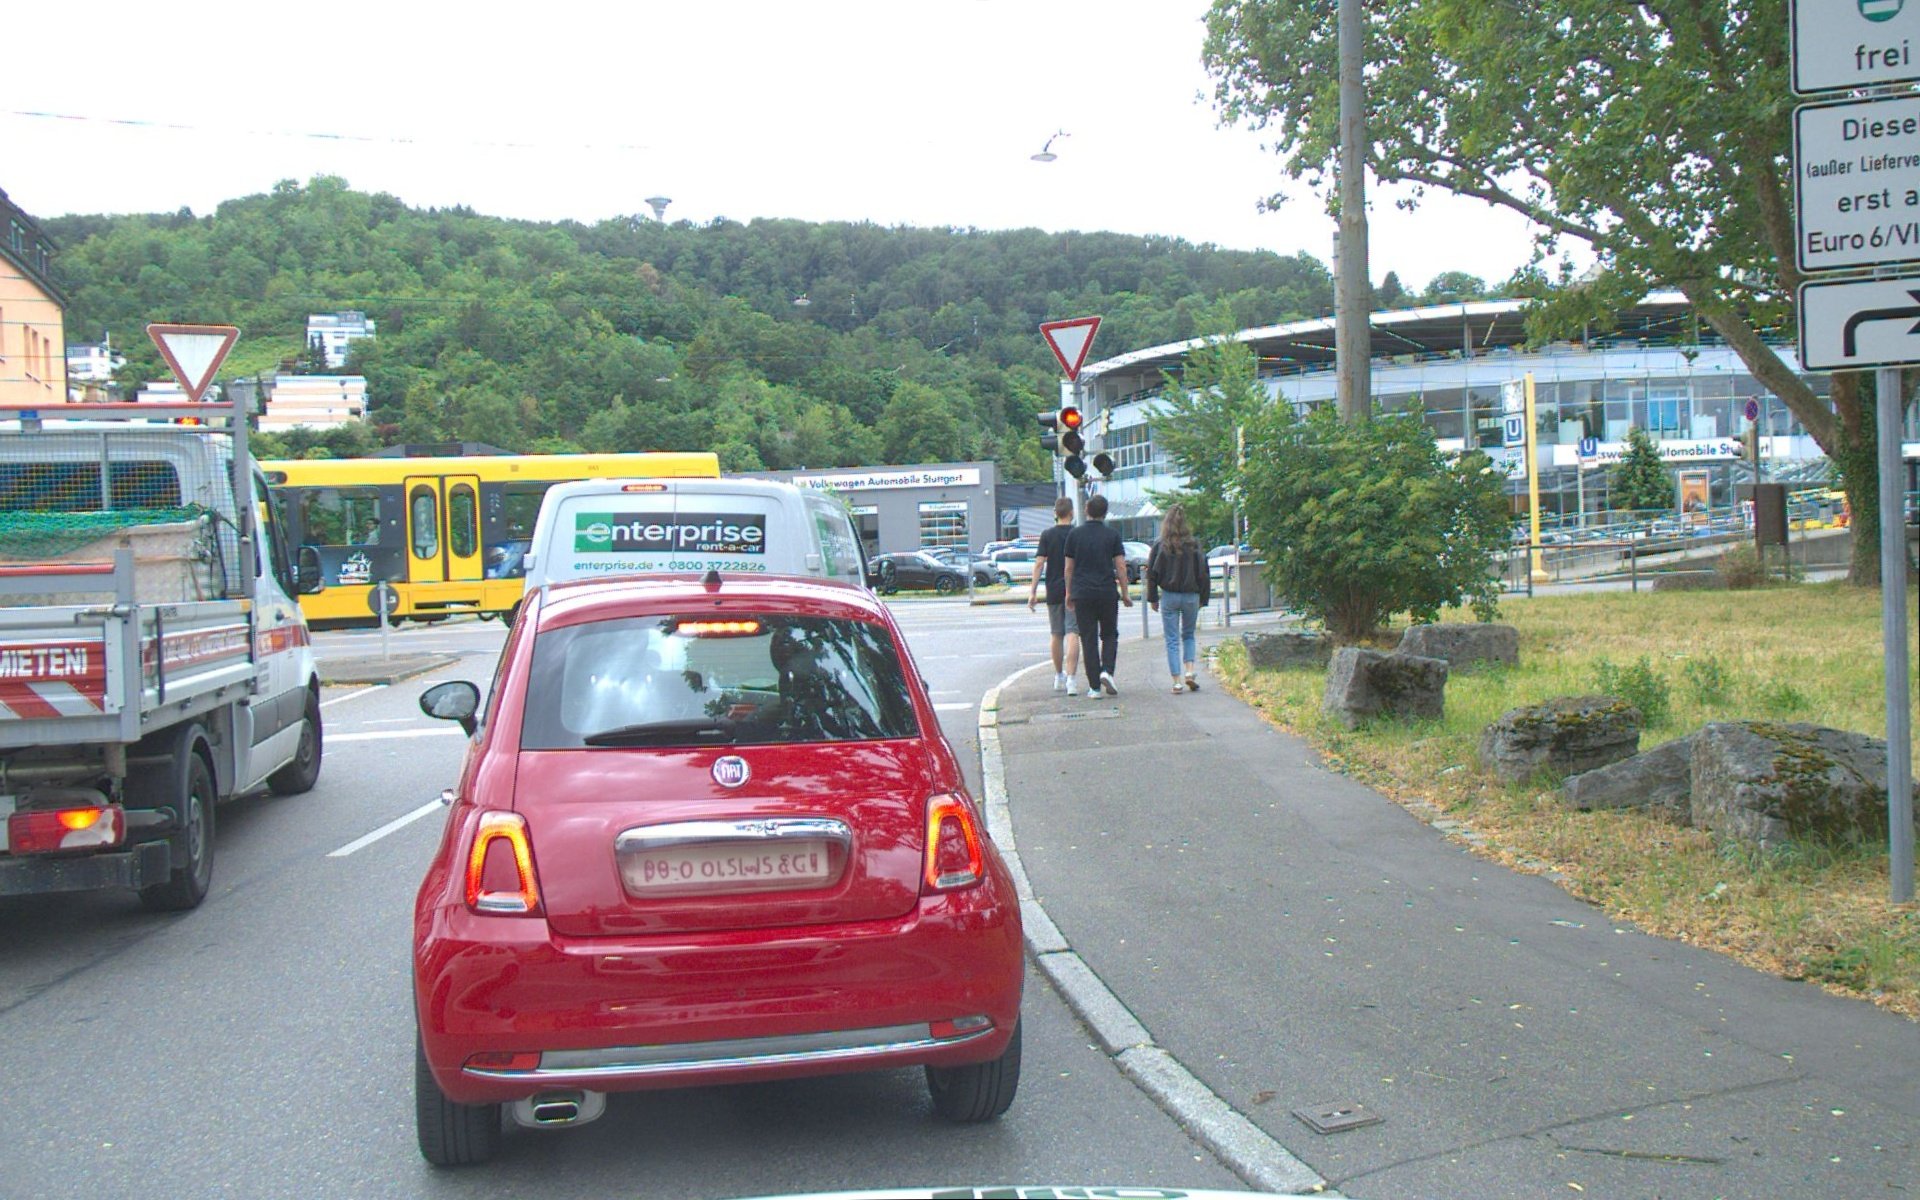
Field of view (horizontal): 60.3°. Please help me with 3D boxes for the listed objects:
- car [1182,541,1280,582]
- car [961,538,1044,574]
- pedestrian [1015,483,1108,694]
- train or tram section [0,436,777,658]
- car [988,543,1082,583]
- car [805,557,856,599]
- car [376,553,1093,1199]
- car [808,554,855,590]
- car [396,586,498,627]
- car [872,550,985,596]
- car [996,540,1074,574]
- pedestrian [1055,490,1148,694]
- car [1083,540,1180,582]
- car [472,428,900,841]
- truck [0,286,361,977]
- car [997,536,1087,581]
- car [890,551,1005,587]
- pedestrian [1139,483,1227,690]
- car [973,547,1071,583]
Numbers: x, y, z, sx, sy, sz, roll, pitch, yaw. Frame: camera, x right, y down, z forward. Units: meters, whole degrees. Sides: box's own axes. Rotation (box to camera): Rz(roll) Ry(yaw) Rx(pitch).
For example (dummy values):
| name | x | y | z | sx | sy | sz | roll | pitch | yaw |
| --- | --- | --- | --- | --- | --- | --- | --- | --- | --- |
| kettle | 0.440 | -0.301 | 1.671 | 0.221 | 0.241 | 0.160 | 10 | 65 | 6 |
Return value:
| name | x | y | z | sx | sy | sz | roll | pitch | yaw |
| --- | --- | --- | --- | --- | --- | --- | --- | --- | --- |
| car | 10.952 | -1.560 | 67.037 | 1.753 | 1.526 | 3.979 | -3 | 2 | -31 |
| car | 2.467 | -2.564 | 96.277 | 4.696 | 1.834 | 1.776 | -2 | 1 | 2 |
| pedestrian | 0.958 | -0.111 | 15.438 | 0.678 | 1.889 | 0.789 | -2 | 1 | 11 |
| train or tram section | -13.257 | -1.084 | 32.819 | 18.820 | 3.729 | 3.261 | -3 | 2 | -19 |
| car | 3.827 | -1.884 | 84.409 | 4.696 | 1.834 | 1.776 | -2 | 1 | 2 |
| car | -6.132 | -1.088 | 78.755 | 1.952 | 1.847 | 4.001 | -2 | 2 | 1 |
| car | -0.820 | 0.628 | 5.512 | 1.610 | 1.482 | 3.421 | -2 | 1 | -12 |
| car | -6.092 | -1.350 | 78.749 | 1.733 | 1.560 | 4.092 | -2 | 2 | 2 |
| car | -22.483 | 0.272 | 72.639 | 4.135 | 1.560 | 1.768 | -3 | 2 | -16 |
| car | -1.152 | -0.998 | 61.327 | 3.787 | 1.526 | 1.777 | -2 | 1 | 16 |
| car | 4.583 | -2.644 | 101.206 | 4.696 | 1.834 | 1.776 | -2 | 1 | 2 |
| pedestrian | 1.270 | -0.081 | 14.745 | 0.678 | 1.744 | 0.789 | -2 | 1 | 10 |
| car | 6.728 | -1.525 | 65.233 | 1.754 | 1.526 | 3.837 | -3 | 2 | -33 |
| car | -1.568 | 0.128 | 11.341 | 1.948 | 2.143 | 4.763 | -3 | 1 | 1 |
| truck | -4.790 | 0.115 | 8.593 | 2.381 | 2.439 | 6.008 | -3 | 1 | -14 |
| car | 4.406 | -2.266 | 89.227 | 4.696 | 2.194 | 2.234 | -2 | 1 | 2 |
| car | -0.504 | -1.325 | 70.420 | 4.572 | 1.351 | 1.777 | -2 | 1 | 13 |
| pedestrian | 2.005 | -0.125 | 14.806 | 0.678 | 1.770 | 0.789 | -3 | 1 | 10 |
| car | 3.057 | -1.740 | 81.138 | 4.696 | 1.560 | 1.776 | -2 | 1 | 2 |
